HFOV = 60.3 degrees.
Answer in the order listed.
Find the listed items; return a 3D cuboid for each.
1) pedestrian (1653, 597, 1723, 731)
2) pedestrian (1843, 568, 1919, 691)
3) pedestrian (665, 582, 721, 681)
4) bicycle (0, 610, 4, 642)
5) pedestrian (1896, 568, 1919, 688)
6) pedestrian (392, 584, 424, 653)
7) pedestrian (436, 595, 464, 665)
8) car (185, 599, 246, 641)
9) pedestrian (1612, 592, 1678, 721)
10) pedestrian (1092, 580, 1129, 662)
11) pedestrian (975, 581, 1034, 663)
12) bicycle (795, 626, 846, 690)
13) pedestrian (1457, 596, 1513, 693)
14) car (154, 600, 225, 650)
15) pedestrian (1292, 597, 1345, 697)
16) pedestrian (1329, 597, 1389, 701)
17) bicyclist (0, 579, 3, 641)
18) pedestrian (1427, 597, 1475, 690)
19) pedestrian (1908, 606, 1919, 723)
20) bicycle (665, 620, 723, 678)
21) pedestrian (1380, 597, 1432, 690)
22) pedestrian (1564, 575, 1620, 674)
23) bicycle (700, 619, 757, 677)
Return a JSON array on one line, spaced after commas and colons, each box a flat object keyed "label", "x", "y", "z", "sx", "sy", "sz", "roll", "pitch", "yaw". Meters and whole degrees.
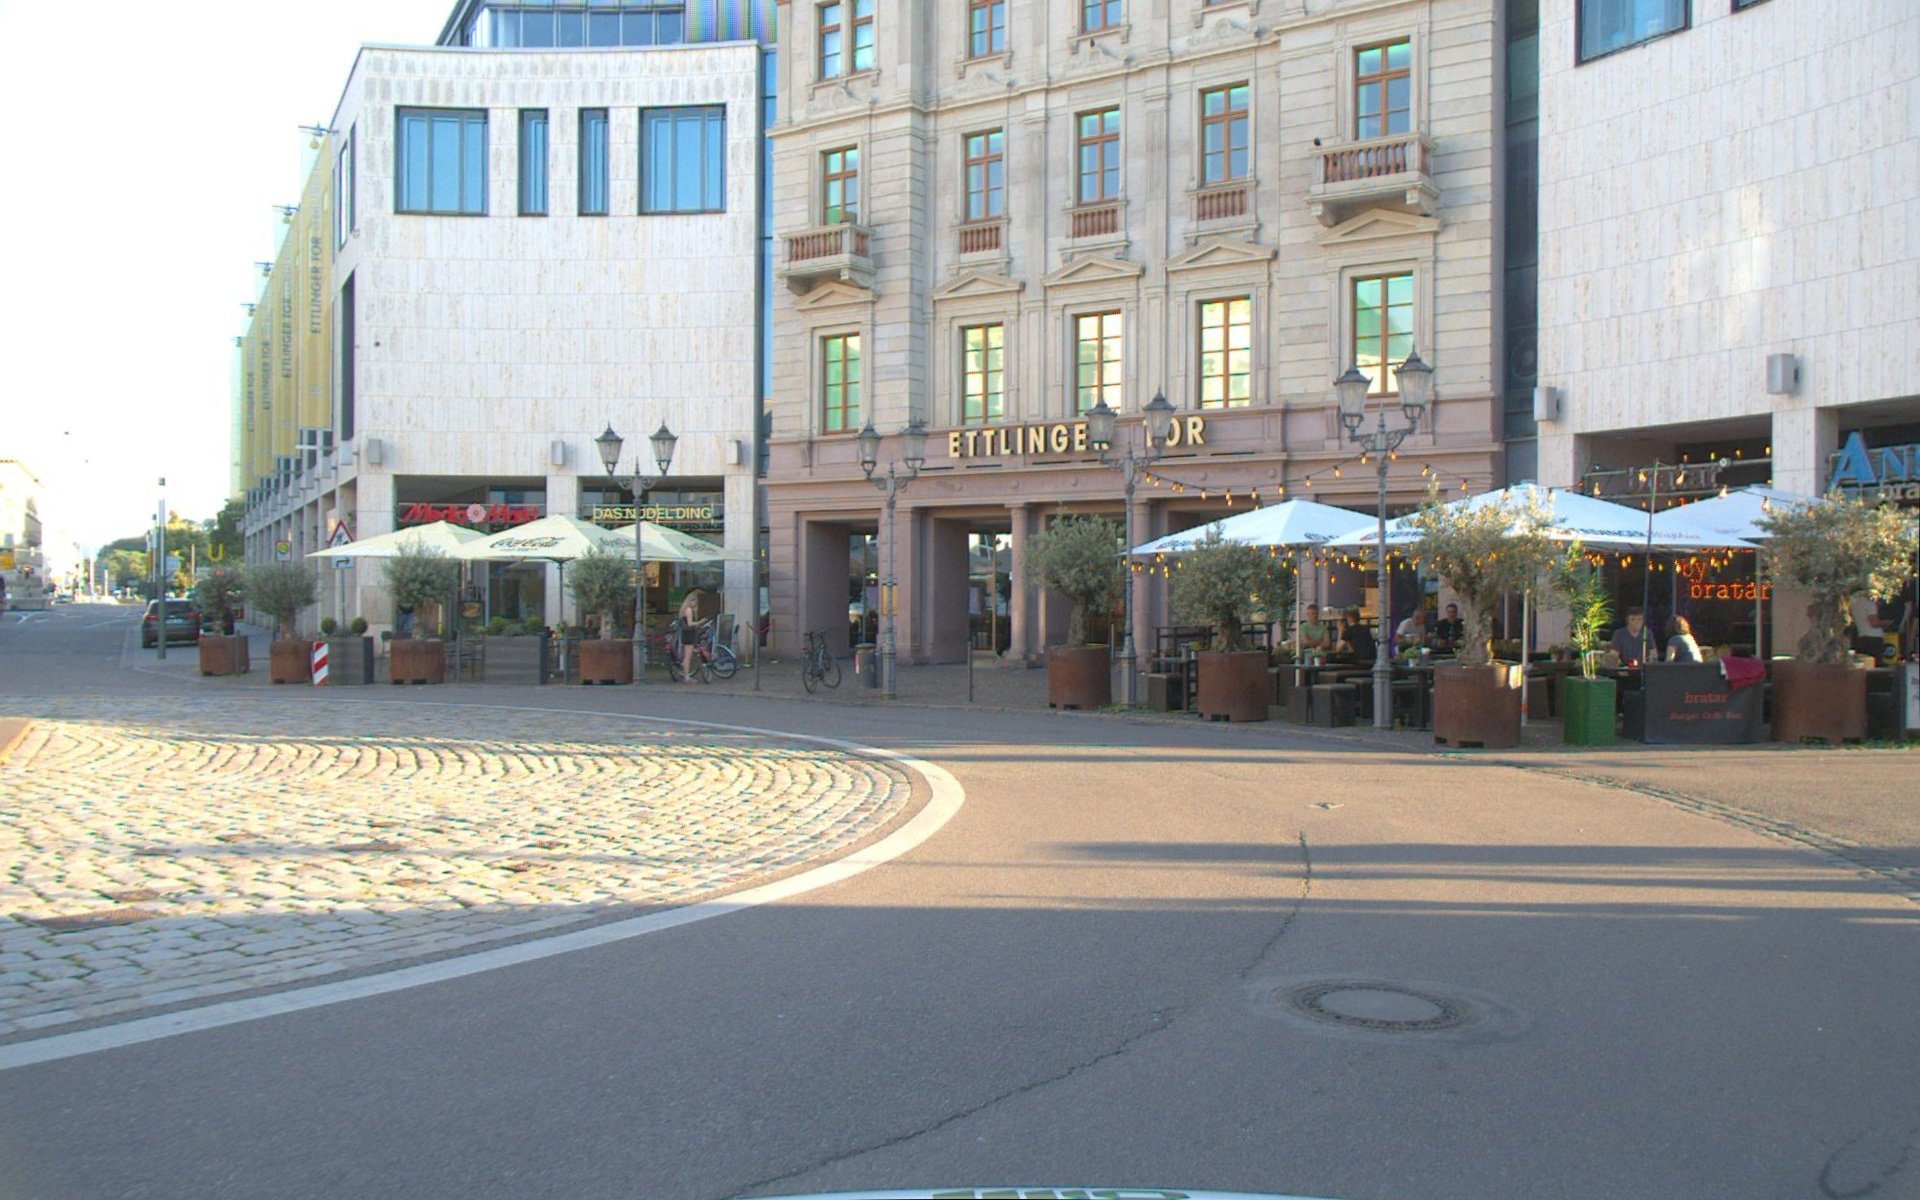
[{"label": "pedestrian", "x": 8.283, "y": 0.716, "z": 18.828, "sx": 0.518, "sy": 1.504, "sz": 0.562, "roll": 0, "pitch": 0, "yaw": -6}, {"label": "pedestrian", "x": 12.776, "y": 0.393, "z": 22.919, "sx": 0.682, "sy": 1.676, "sz": 0.689, "roll": 0, "pitch": 0, "yaw": -15}, {"label": "pedestrian", "x": -4.852, "y": 0.563, "z": 29.983, "sx": 0.890, "sy": 1.759, "sz": 0.845, "roll": 0, "pitch": 0, "yaw": -18}, {"label": "bicycle", "x": -36.086, "y": 0.960, "z": 61.678, "sx": 0.592, "sy": 1.158, "sz": 1.741, "roll": 0, "pitch": 0, "yaw": -25}, {"label": "pedestrian", "x": 13.803, "y": 0.385, "z": 23.139, "sx": 0.913, "sy": 1.676, "sz": 0.864, "roll": 0, "pitch": 0, "yaw": -14}, {"label": "pedestrian", "x": -14.829, "y": 0.485, "z": 44.427, "sx": 0.701, "sy": 1.818, "sz": 0.638, "roll": 0, "pitch": 0, "yaw": -33}, {"label": "pedestrian", "x": -10.424, "y": 0.605, "z": 33.834, "sx": 0.497, "sy": 1.422, "sz": 0.494, "roll": 0, "pitch": 0, "yaw": -11}, {"label": "car", "x": -27.222, "y": 0.703, "z": 60.463, "sx": 1.968, "sy": 1.489, "sz": 3.969, "roll": 0, "pitch": 0, "yaw": -25}, {"label": "pedestrian", "x": 8.131, "y": 0.663, "z": 19.646, "sx": 0.518, "sy": 1.504, "sz": 0.562, "roll": 0, "pitch": 0, "yaw": -8}, {"label": "pedestrian", "x": 3.264, "y": 0.443, "z": 35.919, "sx": 0.612, "sy": 1.759, "sz": 0.543, "roll": 0, "pitch": 0, "yaw": 39}, {"label": "pedestrian", "x": 1.023, "y": 0.488, "z": 37.746, "sx": 0.971, "sy": 1.854, "sz": 0.966, "roll": 0, "pitch": 0, "yaw": 39}, {"label": "bicycle", "x": -2.389, "y": 0.983, "z": 28.500, "sx": 0.496, "sy": 1.050, "sz": 1.647, "roll": 0, "pitch": 0, "yaw": 9}, {"label": "pedestrian", "x": 8.341, "y": 0.696, "z": 26.299, "sx": 0.618, "sy": 1.504, "sz": 0.616, "roll": 0, "pitch": 0, "yaw": -36}, {"label": "car", "x": -24.385, "y": 0.767, "z": 52.429, "sx": 1.968, "sy": 1.489, "sz": 3.969, "roll": 0, "pitch": 0, "yaw": -25}, {"label": "pedestrian", "x": 5.493, "y": 0.712, "z": 25.342, "sx": 0.537, "sy": 1.504, "sz": 0.619, "roll": 0, "pitch": 0, "yaw": -25}, {"label": "pedestrian", "x": 5.919, "y": 0.712, "z": 24.567, "sx": 0.579, "sy": 1.504, "sz": 0.679, "roll": 0, "pitch": 0, "yaw": -23}, {"label": "bicyclist", "x": -36.076, "y": 0.376, "z": 61.671, "sx": 0.592, "sy": 2.282, "sz": 0.797, "roll": 0, "pitch": 0, "yaw": -25}, {"label": "pedestrian", "x": 8.099, "y": 0.703, "z": 27.292, "sx": 0.534, "sy": 1.504, "sz": 0.622, "roll": 0, "pitch": 0, "yaw": -15}, {"label": "pedestrian", "x": 11.217, "y": 0.735, "z": 18.706, "sx": 0.537, "sy": 1.333, "sz": 0.723, "roll": 0, "pitch": 0, "yaw": -7}, {"label": "bicycle", "x": -5.038, "y": 0.914, "z": 31.400, "sx": 0.586, "sy": 1.050, "sz": 1.647, "roll": 0, "pitch": 0, "yaw": 9}, {"label": "pedestrian", "x": 7.278, "y": 0.699, "z": 27.002, "sx": 0.580, "sy": 1.504, "sz": 0.622, "roll": 0, "pitch": 0, "yaw": -15}, {"label": "pedestrian", "x": 11.421, "y": 0.438, "z": 29.904, "sx": 0.610, "sy": 1.751, "sz": 0.686, "roll": 0, "pitch": 1, "yaw": -31}, {"label": "bicycle", "x": -4.371, "y": 0.897, "z": 31.343, "sx": 0.606, "sy": 1.050, "sz": 1.647, "roll": 0, "pitch": 0, "yaw": 9}]
